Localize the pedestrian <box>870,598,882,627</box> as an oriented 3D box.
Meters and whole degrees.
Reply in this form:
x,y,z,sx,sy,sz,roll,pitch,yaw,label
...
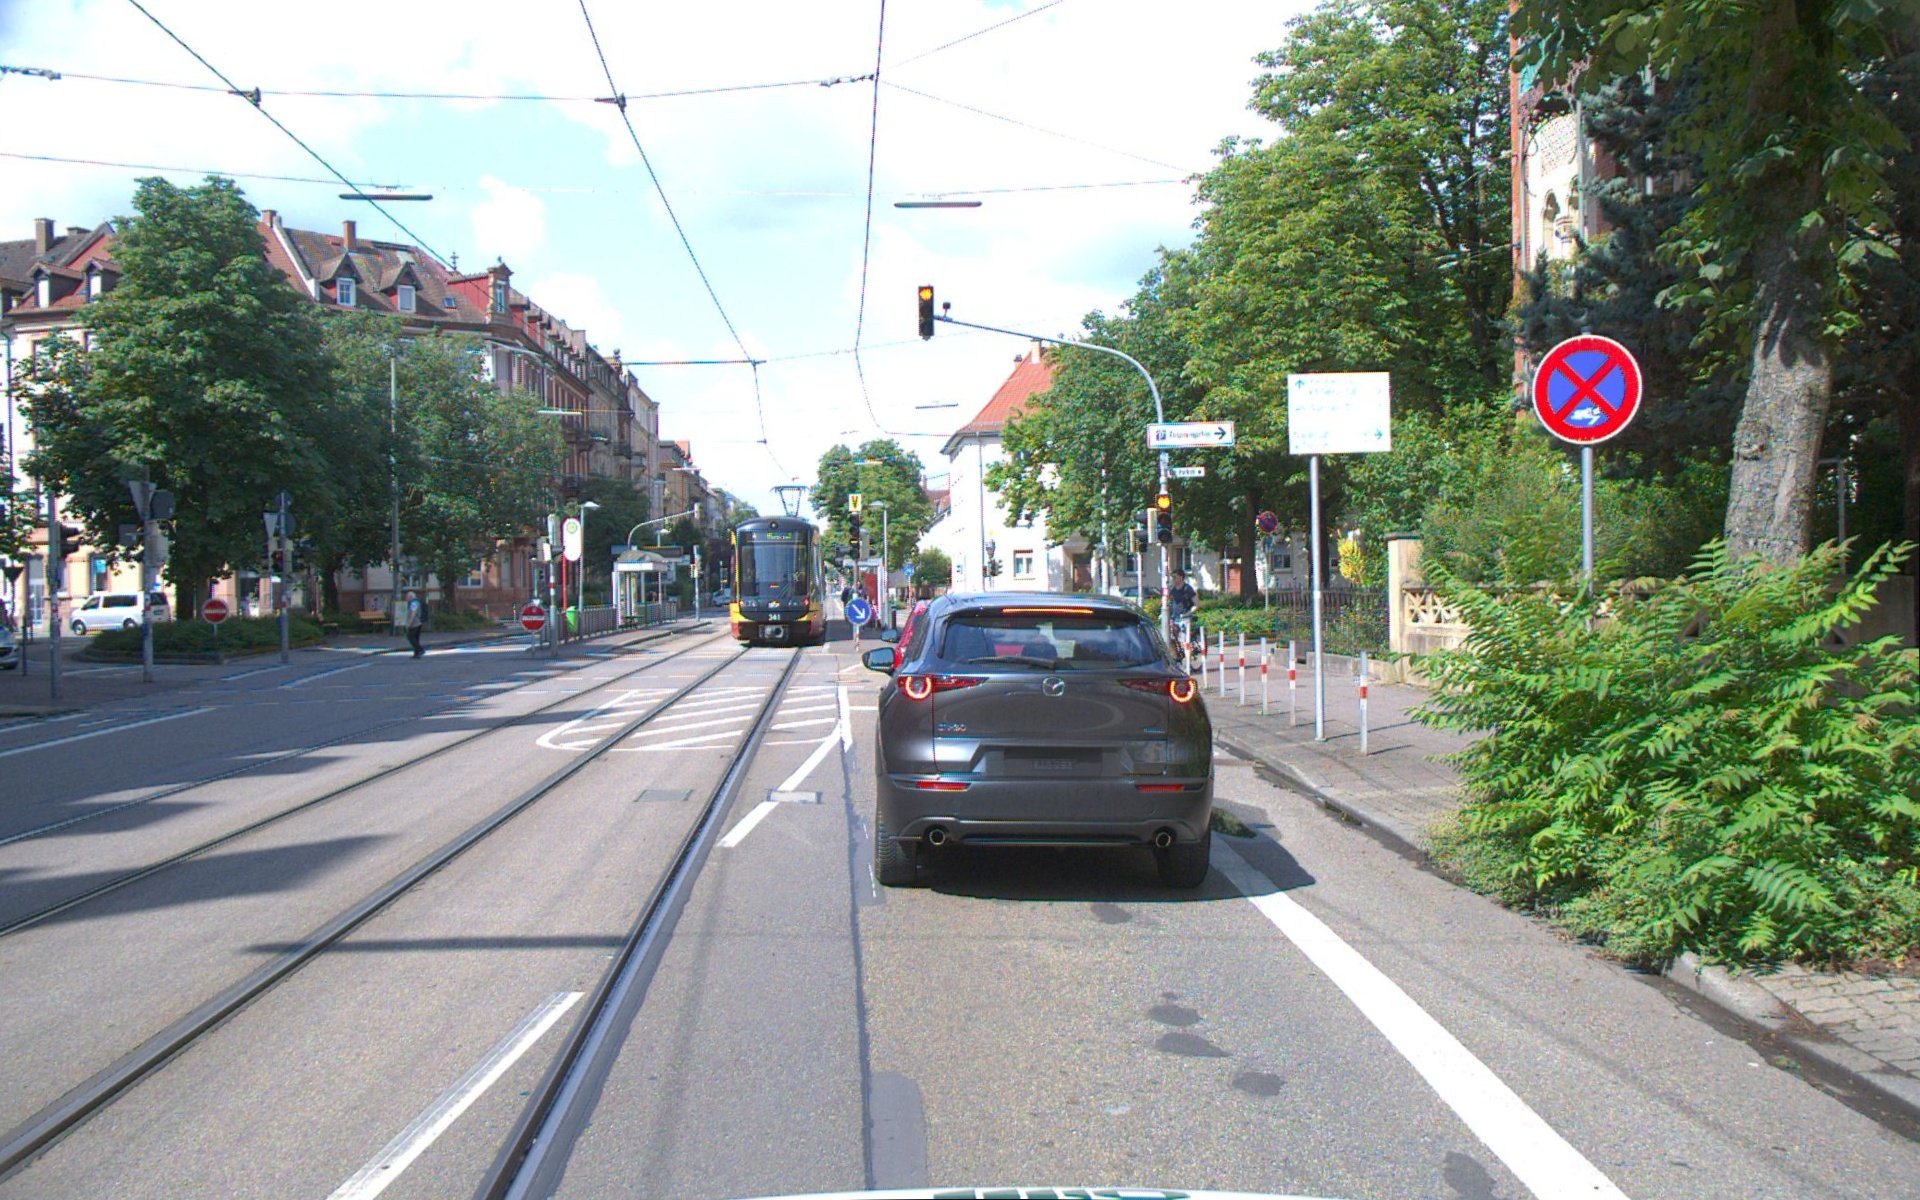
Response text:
x,y,z,sx,sy,sz,roll,pitch,yaw,label
-2.939,0.448,57.652,0.372,1.001,0.474,-1,0,-6,pedestrian

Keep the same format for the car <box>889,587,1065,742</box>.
x,y,z,sx,sy,sz,roll,pitch,yaw,label
0.127,0.630,18.542,1.742,1.526,3.999,1,0,-1,car

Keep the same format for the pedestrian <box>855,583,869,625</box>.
x,y,z,sx,sy,sz,roll,pitch,yaw,label
-3.413,0.139,57.446,0.441,1.459,0.474,-1,0,-6,pedestrian

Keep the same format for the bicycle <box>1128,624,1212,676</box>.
x,y,z,sx,sy,sz,roll,pitch,yaw,label
3.702,0.867,29.072,1.685,0.838,0.487,-1,0,-43,bicycle

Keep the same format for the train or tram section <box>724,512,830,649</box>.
x,y,z,sx,sy,sz,roll,pitch,yaw,label
-5.384,-0.675,50.508,2.699,3.551,14.395,-1,1,-5,train or tram section

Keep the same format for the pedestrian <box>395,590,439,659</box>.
x,y,z,sx,sy,sz,roll,pitch,yaw,label
-13.883,0.616,42.305,0.808,1.735,0.716,-1,0,38,pedestrian

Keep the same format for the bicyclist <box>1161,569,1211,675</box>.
x,y,z,sx,sy,sz,roll,pitch,yaw,label
3.936,0.374,28.818,0.600,1.824,0.653,-1,0,-24,bicyclist

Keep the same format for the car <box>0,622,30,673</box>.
x,y,z,sx,sy,sz,roll,pitch,yaw,label
-24.540,1.168,40.292,3.916,1.203,1.674,-1,0,33,car

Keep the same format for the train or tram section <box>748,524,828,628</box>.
x,y,z,sx,sy,sz,roll,pitch,yaw,label
-6.584,-0.997,64.846,2.699,3.551,14.395,-1,1,-5,train or tram section

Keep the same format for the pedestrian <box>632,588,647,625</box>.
x,y,z,sx,sy,sz,roll,pitch,yaw,label
-12.469,0.267,64.378,0.420,1.423,0.397,-1,0,30,pedestrian

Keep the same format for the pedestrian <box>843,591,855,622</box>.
x,y,z,sx,sy,sz,roll,pitch,yaw,label
-3.867,0.223,57.482,0.372,1.089,0.474,-1,0,-5,pedestrian

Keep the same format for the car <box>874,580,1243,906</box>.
x,y,z,sx,sy,sz,roll,pitch,yaw,label
0.430,0.670,9.894,1.742,1.526,3.999,1,0,-1,car

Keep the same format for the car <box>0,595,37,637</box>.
x,y,z,sx,sy,sz,roll,pitch,yaw,label
-39.756,0.667,66.679,3.906,1.624,2.000,-1,0,-1,car

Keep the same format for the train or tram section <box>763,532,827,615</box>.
x,y,z,sx,sy,sz,roll,pitch,yaw,label
-7.770,-1.328,79.202,2.699,3.551,14.395,-1,1,-5,train or tram section

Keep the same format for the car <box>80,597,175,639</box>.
x,y,z,sx,sy,sz,roll,pitch,yaw,label
-39.708,0.845,78.876,3.906,1.937,1.999,-1,0,23,car
